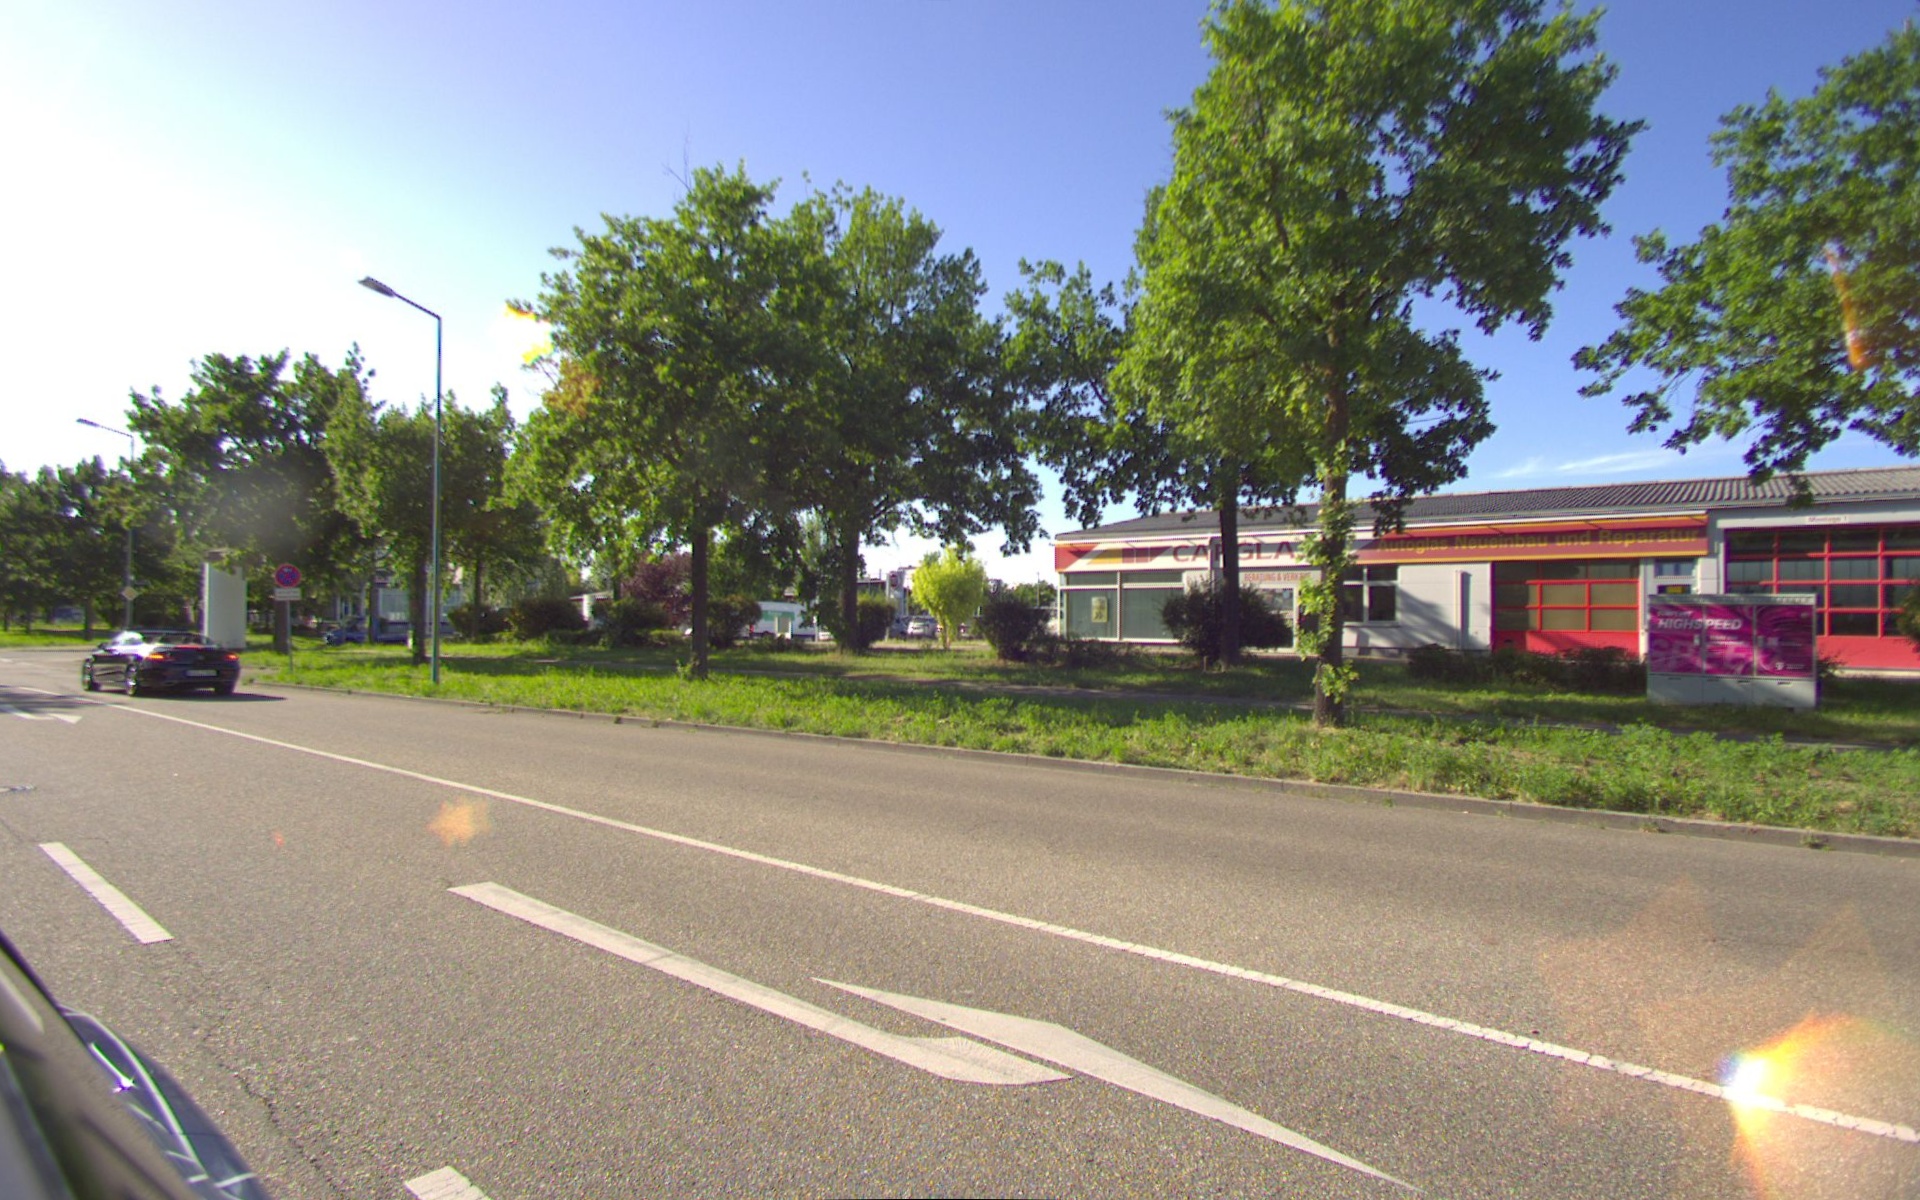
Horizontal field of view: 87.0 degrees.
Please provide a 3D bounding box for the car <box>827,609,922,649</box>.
[{"bbox_3d":[-4.697,1.588,56.146,2.297,2.085,5.359,-1,-2,37],"label":"car"}]

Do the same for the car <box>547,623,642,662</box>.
[{"bbox_3d":[-26.632,3.061,73.961,2.297,2.535,6.280,0,0,37],"label":"car"}]

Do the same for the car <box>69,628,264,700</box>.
[{"bbox_3d":[-17.276,1.361,21.976,4.576,1.414,1.977,-1,-5,34],"label":"car"}]

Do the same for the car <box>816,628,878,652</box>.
[{"bbox_3d":[-6.494,2.293,58.314,1.572,1.312,3.489,-1,-1,38],"label":"car"}]

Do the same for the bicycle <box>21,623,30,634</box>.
[{"bbox_3d":[-96.675,2.948,104.694,2.334,1.170,0.545,0,0,43],"label":"bicycle"}]

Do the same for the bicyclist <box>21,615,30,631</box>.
[{"bbox_3d":[-96.776,2.335,104.770,0.659,1.641,0.657,0,0,43],"label":"bicyclist"}]

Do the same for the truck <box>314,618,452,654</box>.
[{"bbox_3d":[-35.349,2.230,62.276,2.138,2.065,7.043,0,-2,38],"label":"truck"}]

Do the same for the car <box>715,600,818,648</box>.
[{"bbox_3d":[-11.508,1.384,60.603,2.297,2.723,6.102,0,0,37],"label":"car"}]
